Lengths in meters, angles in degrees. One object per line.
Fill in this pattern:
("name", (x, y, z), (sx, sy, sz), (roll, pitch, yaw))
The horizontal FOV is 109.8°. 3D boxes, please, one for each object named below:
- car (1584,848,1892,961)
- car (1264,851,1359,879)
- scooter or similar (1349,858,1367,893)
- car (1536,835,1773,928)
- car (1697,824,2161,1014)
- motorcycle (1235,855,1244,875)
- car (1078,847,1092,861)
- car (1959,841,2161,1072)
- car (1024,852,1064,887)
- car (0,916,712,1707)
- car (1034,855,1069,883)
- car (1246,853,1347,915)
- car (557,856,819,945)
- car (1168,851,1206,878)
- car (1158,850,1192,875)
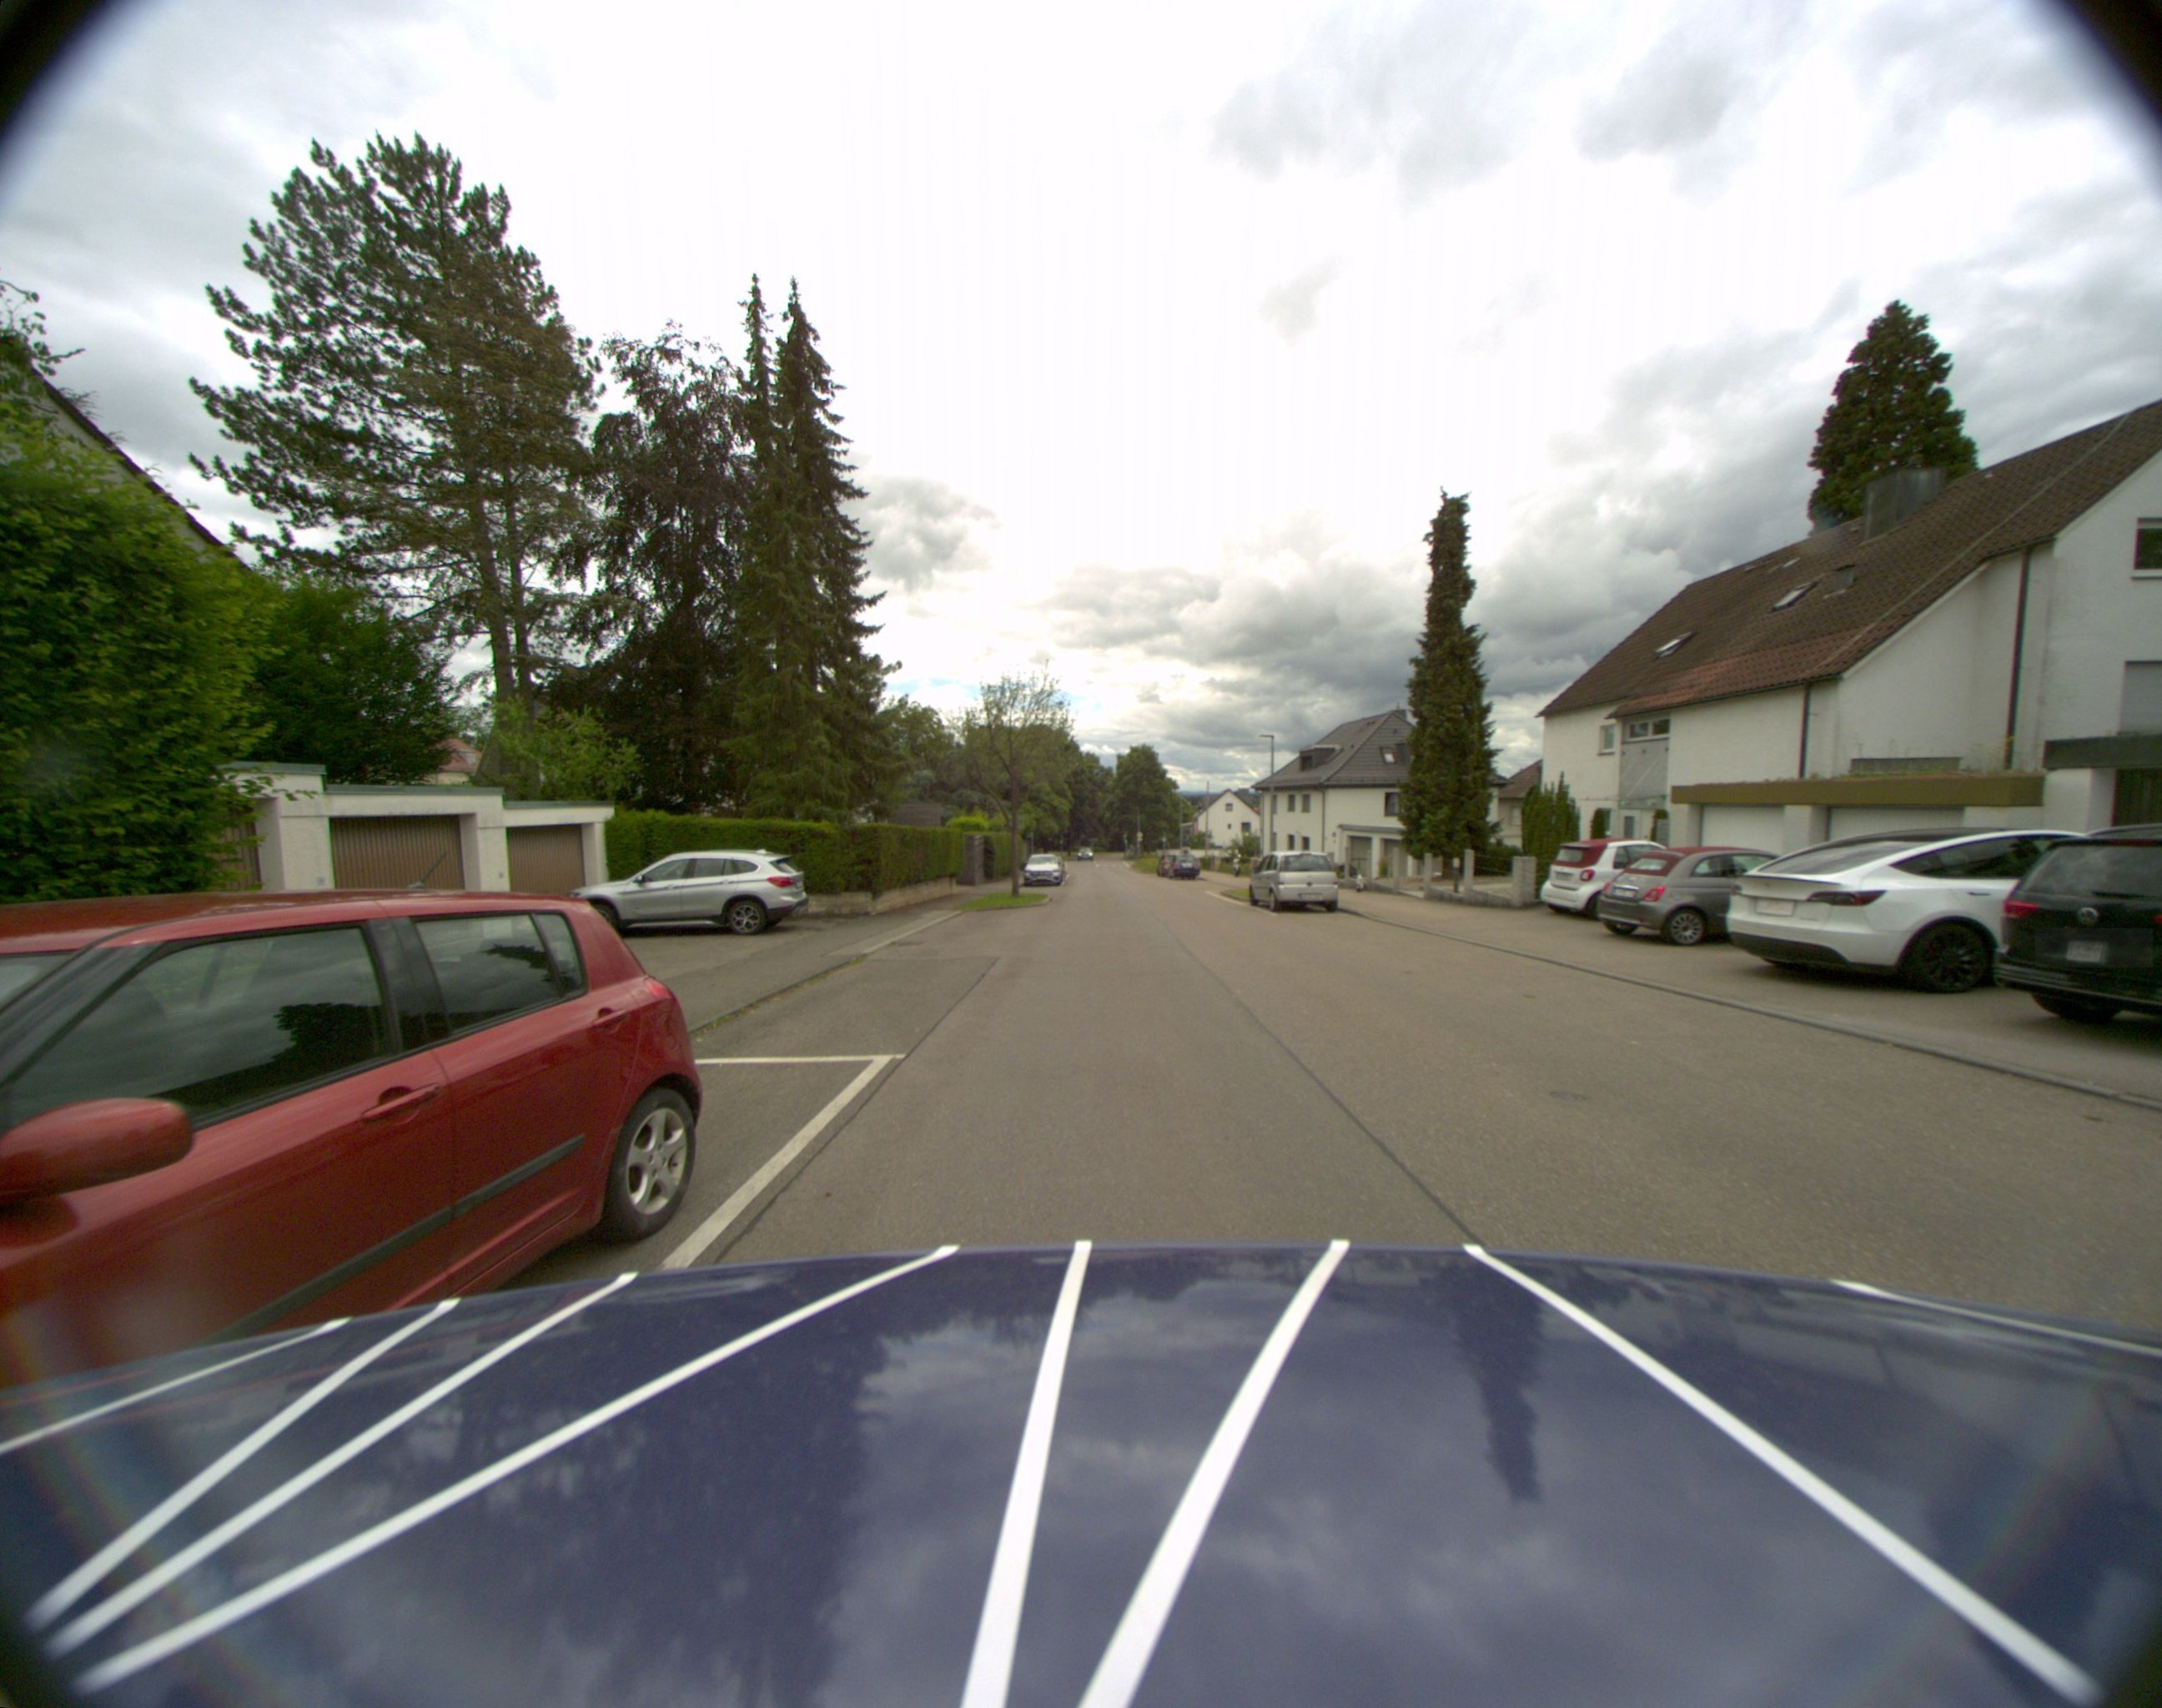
("car", (10.444, 0.764, 12.285), (3.437, 1.504, 1.692), (-3, 2, 2))
("car", (11.933, 0.569, 39.480), (4.298, 1.360, 1.903), (-1, 0, -4))
("scooter or similar", (9.449, 0.718, 25.965), (0.475, 1.142, 1.456), (-3, 0, 17))
("car", (11.353, 0.505, 15.215), (3.437, 1.569, 1.656), (-3, 2, 2))
("car", (9.816, 0.616, 8.384), (4.422, 1.619, 1.910), (-4, 1, 0))
("motorcycle", (9.764, 0.657, 46.829), (0.430, 1.154, 1.863), (1, 2, 9))
("car", (0.462, 0.016, 86.499), (1.568, 1.504, 3.396), (-1, 0, 0))
("car", (9.728, 0.693, 5.511), (4.306, 1.602, 1.854), (-1, 1, 5))
("car", (-1.829, 0.741, 38.917), (1.860, 1.573, 4.171), (-2, 1, -1))
("car", (-2.629, 1.060, 1.711), (1.665, 1.499, 3.758), (-1, 0, 1))
("car", (-1.696, 0.831, 44.881), (1.860, 1.455, 4.171), (-2, 1, -1))
("car", (5.862, 0.750, 21.106), (1.765, 1.554, 3.855), (0, 0, 1))
("car", (-7.621, 0.849, 15.137), (4.221, 1.590, 1.881), (0, 1, -8))
("car", (6.288, 0.588, 45.475), (1.882, 1.528, 3.507), (-1, 1, 1))
("car", (6.244, 0.523, 50.916), (1.882, 1.576, 3.871), (-1, 1, 1))
